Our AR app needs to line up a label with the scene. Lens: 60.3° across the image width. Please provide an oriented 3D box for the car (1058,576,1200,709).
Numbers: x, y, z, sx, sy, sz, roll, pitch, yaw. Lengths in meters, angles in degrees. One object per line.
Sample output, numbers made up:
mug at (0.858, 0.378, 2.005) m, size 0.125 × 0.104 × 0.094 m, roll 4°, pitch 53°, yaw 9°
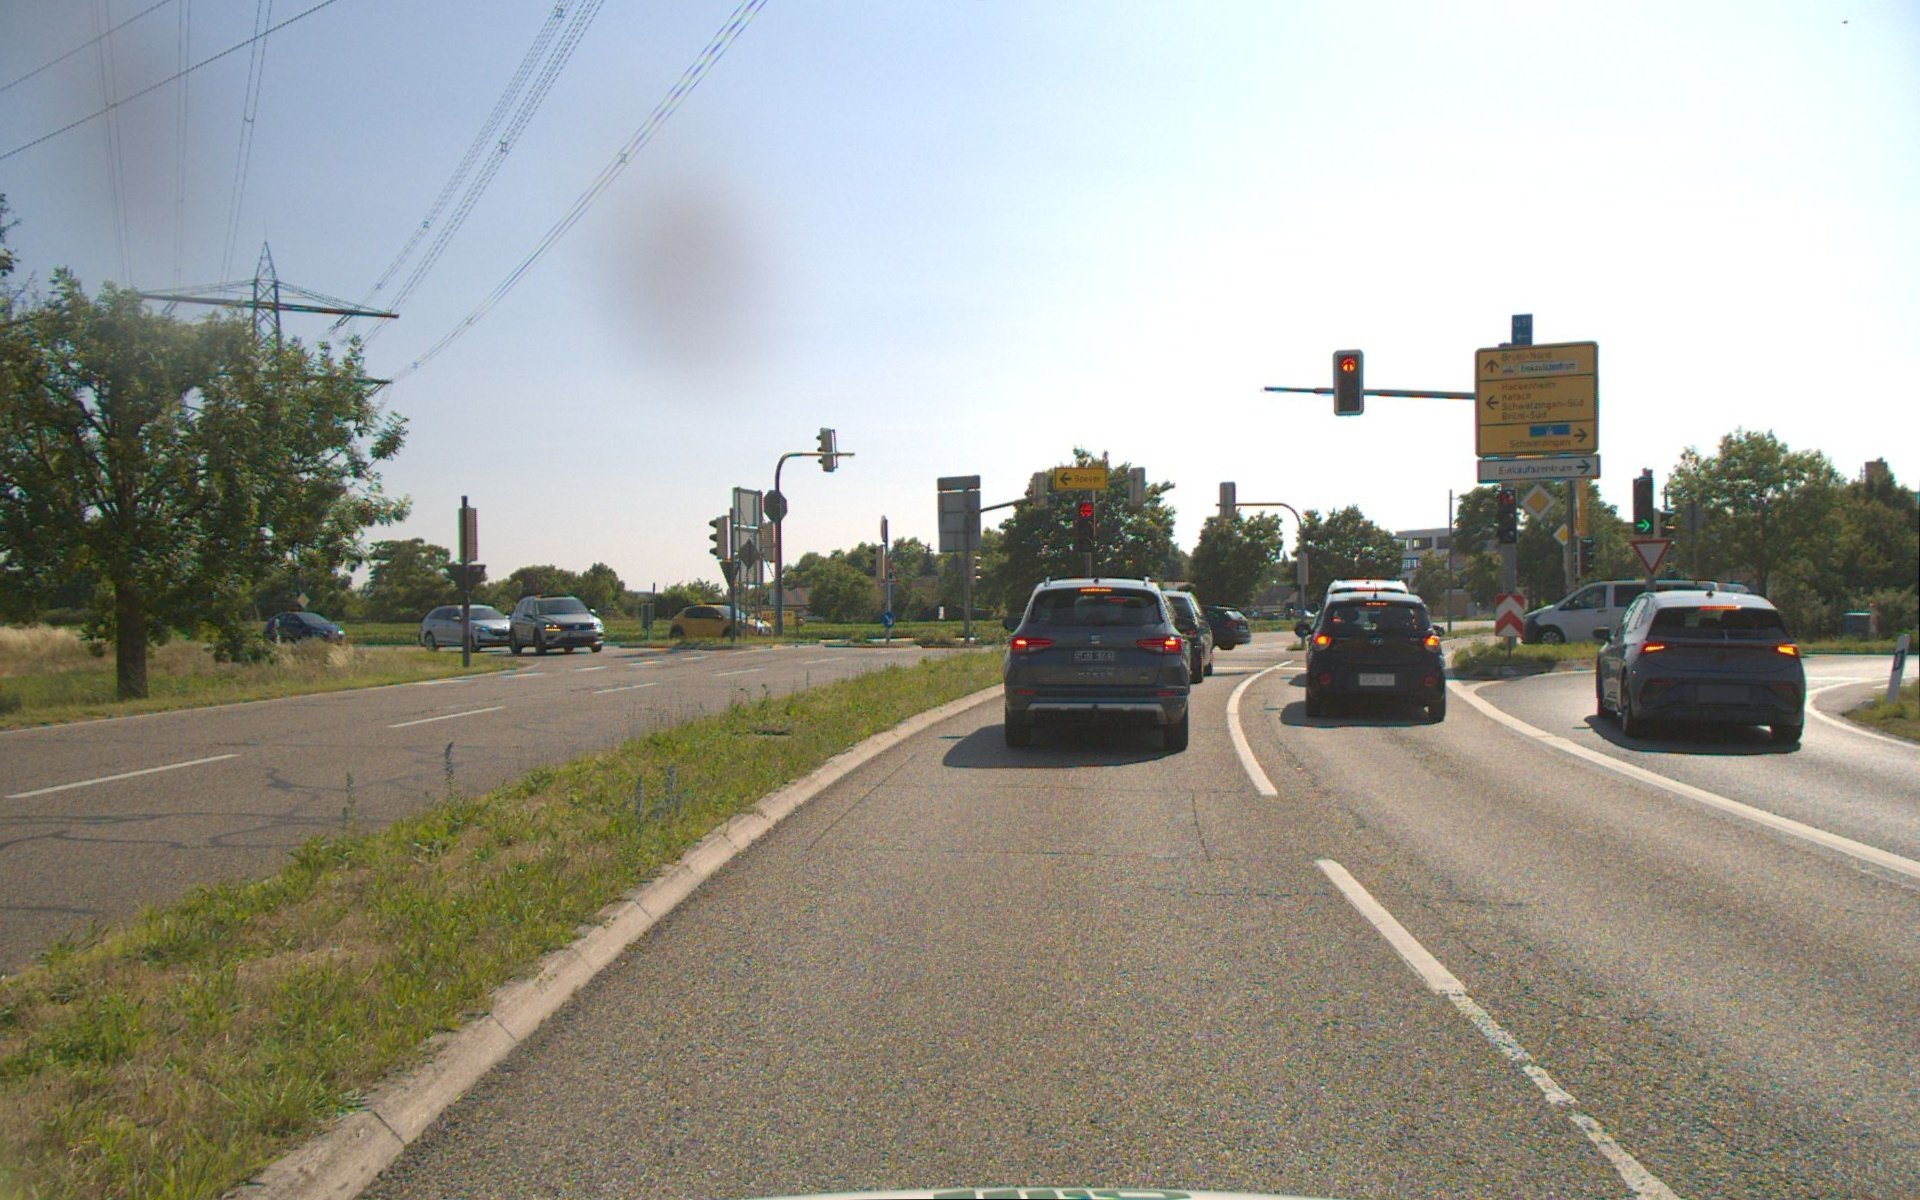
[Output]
car at (2.271, 0.521, 22.111) m, size 1.705 × 1.596 × 3.627 m, roll 1°, pitch 0°, yaw 6°

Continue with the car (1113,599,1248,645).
car at (7.182, 0.720, 53.957) m, size 4.017 × 1.441 × 1.712 m, roll -1°, pitch 0°, yaw 33°

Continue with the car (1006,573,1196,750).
car at (1.443, 0.554, 16.783) m, size 1.705 × 1.596 × 3.626 m, roll 0°, pitch 0°, yaw 5°

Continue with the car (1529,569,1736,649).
car at (17.518, 0.201, 43.116) m, size 4.836 × 1.951 × 1.998 m, roll 1°, pitch 1°, yaw 27°

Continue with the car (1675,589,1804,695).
car at (11.664, 0.569, 24.804) m, size 1.609 × 1.410 × 3.997 m, roll -1°, pitch 1°, yaw 25°

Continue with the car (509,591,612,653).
car at (-11.437, 0.601, 47.167) m, size 1.796 × 1.680 × 3.958 m, roll 0°, pitch 0°, yaw -31°

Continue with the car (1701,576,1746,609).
car at (51.394, -0.493, 111.246) m, size 1.897 × 2.174 × 4.623 m, roll 1°, pitch 0°, yaw 36°

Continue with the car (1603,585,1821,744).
car at (8.360, 0.623, 18.709) m, size 1.735 × 1.544 × 4.102 m, roll 0°, pitch 1°, yaw 17°

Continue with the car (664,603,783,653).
car at (-8.285, 0.968, 57.827) m, size 3.917 × 1.680 × 1.815 m, roll -1°, pitch 0°, yaw 34°

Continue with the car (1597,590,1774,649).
car at (19.858, 0.531, 45.320) m, size 4.242 × 1.545 × 1.803 m, roll -1°, pitch 0°, yaw 32°

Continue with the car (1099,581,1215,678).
car at (3.411, 0.478, 28.156) m, size 1.705 × 1.510 × 3.627 m, roll 1°, pitch 0°, yaw 11°

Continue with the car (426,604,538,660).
car at (-15.233, 0.998, 52.594) m, size 1.806 × 1.680 × 3.935 m, roll 0°, pitch 0°, yaw -44°

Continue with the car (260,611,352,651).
car at (-28.189, 1.320, 71.278) m, size 3.917 × 1.680 × 1.815 m, roll -1°, pitch 0°, yaw 34°

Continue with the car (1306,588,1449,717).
car at (5.199, 0.598, 20.848) m, size 1.598 × 1.473 × 3.298 m, roll 1°, pitch 0°, yaw 12°

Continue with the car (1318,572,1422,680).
car at (6.946, 0.417, 28.284) m, size 1.598 × 1.706 × 3.753 m, roll 1°, pitch 0°, yaw 12°
